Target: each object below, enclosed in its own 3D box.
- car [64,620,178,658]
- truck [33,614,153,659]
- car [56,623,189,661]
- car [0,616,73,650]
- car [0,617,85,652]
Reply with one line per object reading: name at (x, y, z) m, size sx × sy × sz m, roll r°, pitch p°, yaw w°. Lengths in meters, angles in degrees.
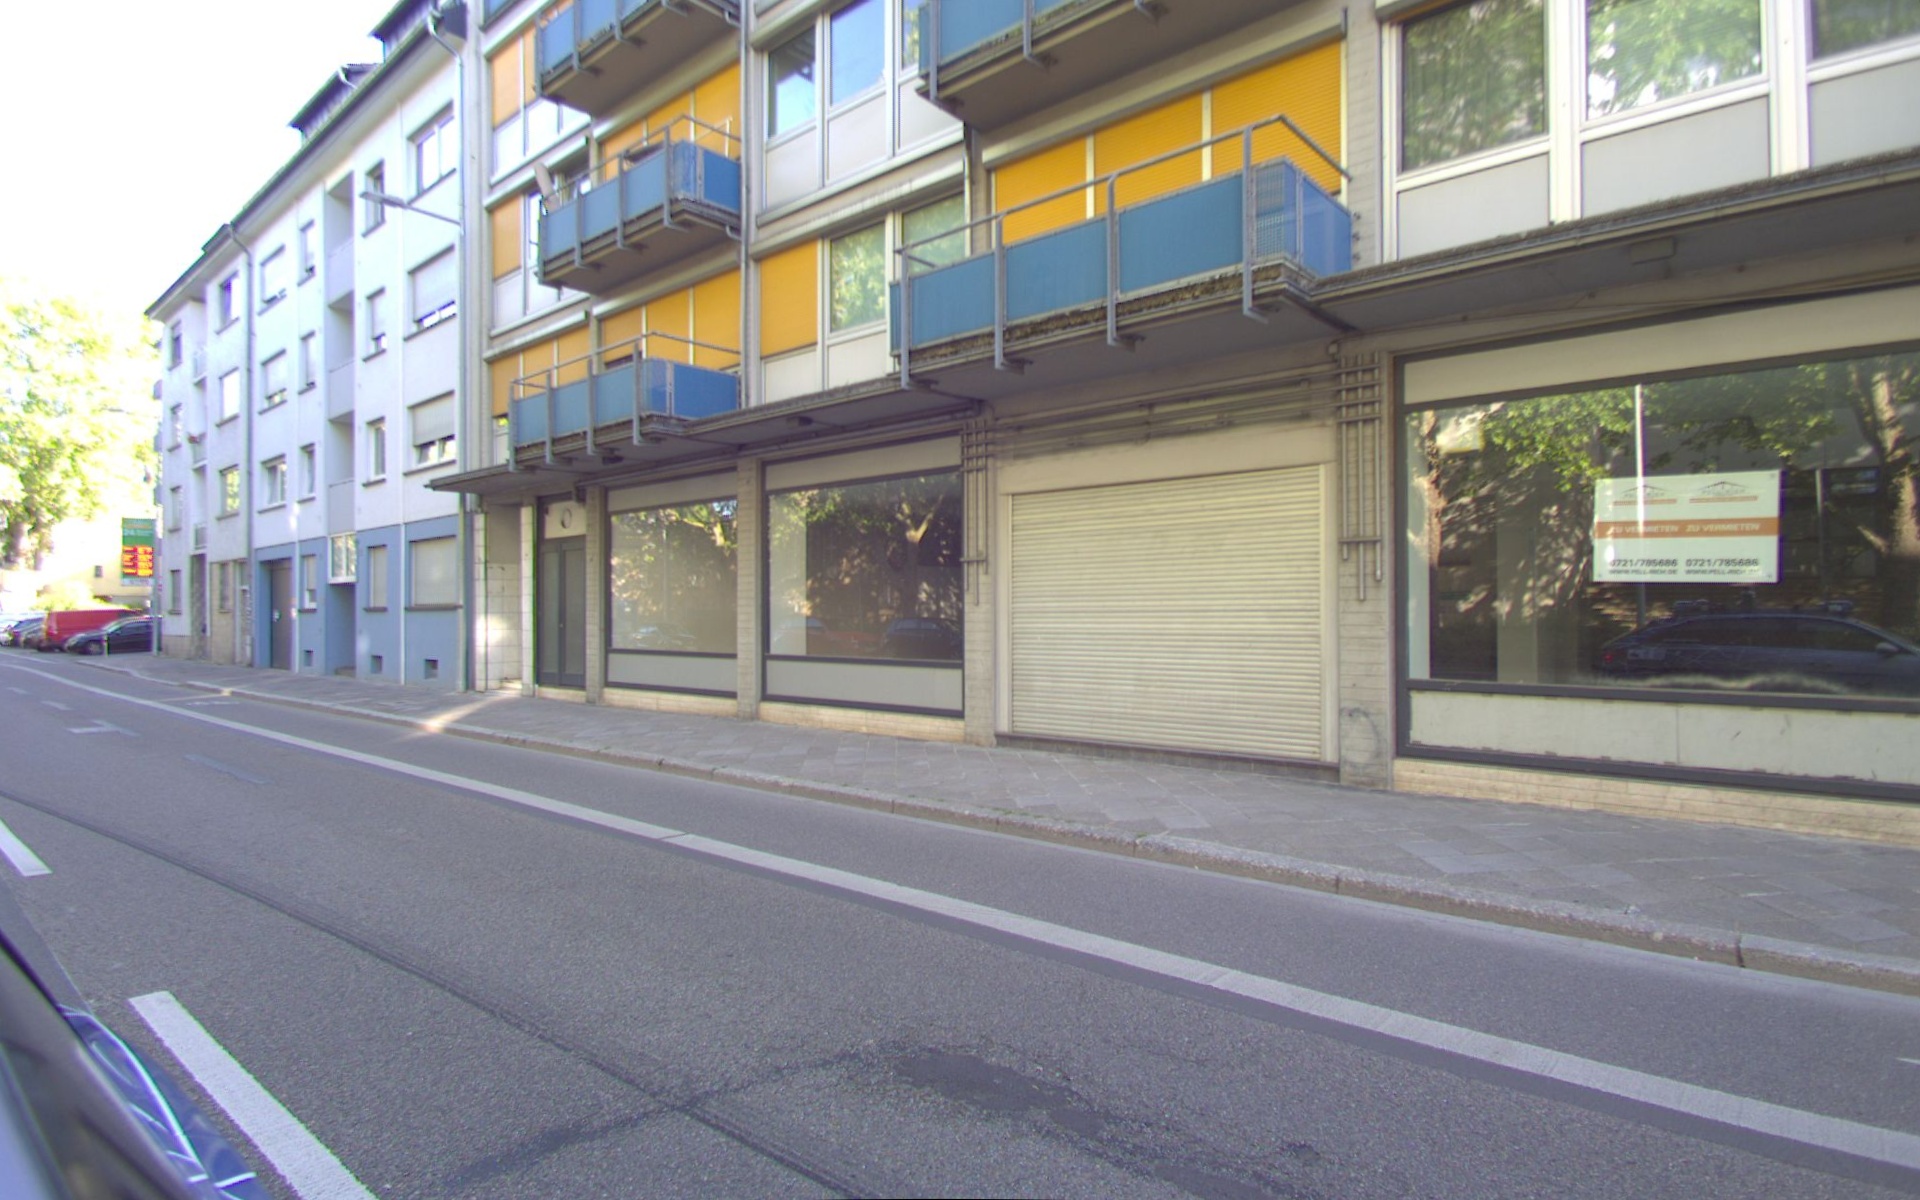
car at (-38.034, 1.727, 45.939) m, size 1.657 × 1.583 × 3.762 m, roll -1°, pitch 0°, yaw 41°
truck at (-40.713, 1.645, 47.573) m, size 1.999 × 1.939 × 4.040 m, roll -1°, pitch 0°, yaw 40°
car at (-36.484, 1.791, 44.156) m, size 1.657 × 1.417 × 4.269 m, roll -1°, pitch 0°, yaw 40°
car at (-59.332, 2.092, 64.399) m, size 2.000 × 2.052 × 4.180 m, roll -1°, pitch 0°, yaw 43°
car at (-56.048, 2.063, 61.469) m, size 2.000 × 1.971 × 4.180 m, roll -1°, pitch 0°, yaw 43°
